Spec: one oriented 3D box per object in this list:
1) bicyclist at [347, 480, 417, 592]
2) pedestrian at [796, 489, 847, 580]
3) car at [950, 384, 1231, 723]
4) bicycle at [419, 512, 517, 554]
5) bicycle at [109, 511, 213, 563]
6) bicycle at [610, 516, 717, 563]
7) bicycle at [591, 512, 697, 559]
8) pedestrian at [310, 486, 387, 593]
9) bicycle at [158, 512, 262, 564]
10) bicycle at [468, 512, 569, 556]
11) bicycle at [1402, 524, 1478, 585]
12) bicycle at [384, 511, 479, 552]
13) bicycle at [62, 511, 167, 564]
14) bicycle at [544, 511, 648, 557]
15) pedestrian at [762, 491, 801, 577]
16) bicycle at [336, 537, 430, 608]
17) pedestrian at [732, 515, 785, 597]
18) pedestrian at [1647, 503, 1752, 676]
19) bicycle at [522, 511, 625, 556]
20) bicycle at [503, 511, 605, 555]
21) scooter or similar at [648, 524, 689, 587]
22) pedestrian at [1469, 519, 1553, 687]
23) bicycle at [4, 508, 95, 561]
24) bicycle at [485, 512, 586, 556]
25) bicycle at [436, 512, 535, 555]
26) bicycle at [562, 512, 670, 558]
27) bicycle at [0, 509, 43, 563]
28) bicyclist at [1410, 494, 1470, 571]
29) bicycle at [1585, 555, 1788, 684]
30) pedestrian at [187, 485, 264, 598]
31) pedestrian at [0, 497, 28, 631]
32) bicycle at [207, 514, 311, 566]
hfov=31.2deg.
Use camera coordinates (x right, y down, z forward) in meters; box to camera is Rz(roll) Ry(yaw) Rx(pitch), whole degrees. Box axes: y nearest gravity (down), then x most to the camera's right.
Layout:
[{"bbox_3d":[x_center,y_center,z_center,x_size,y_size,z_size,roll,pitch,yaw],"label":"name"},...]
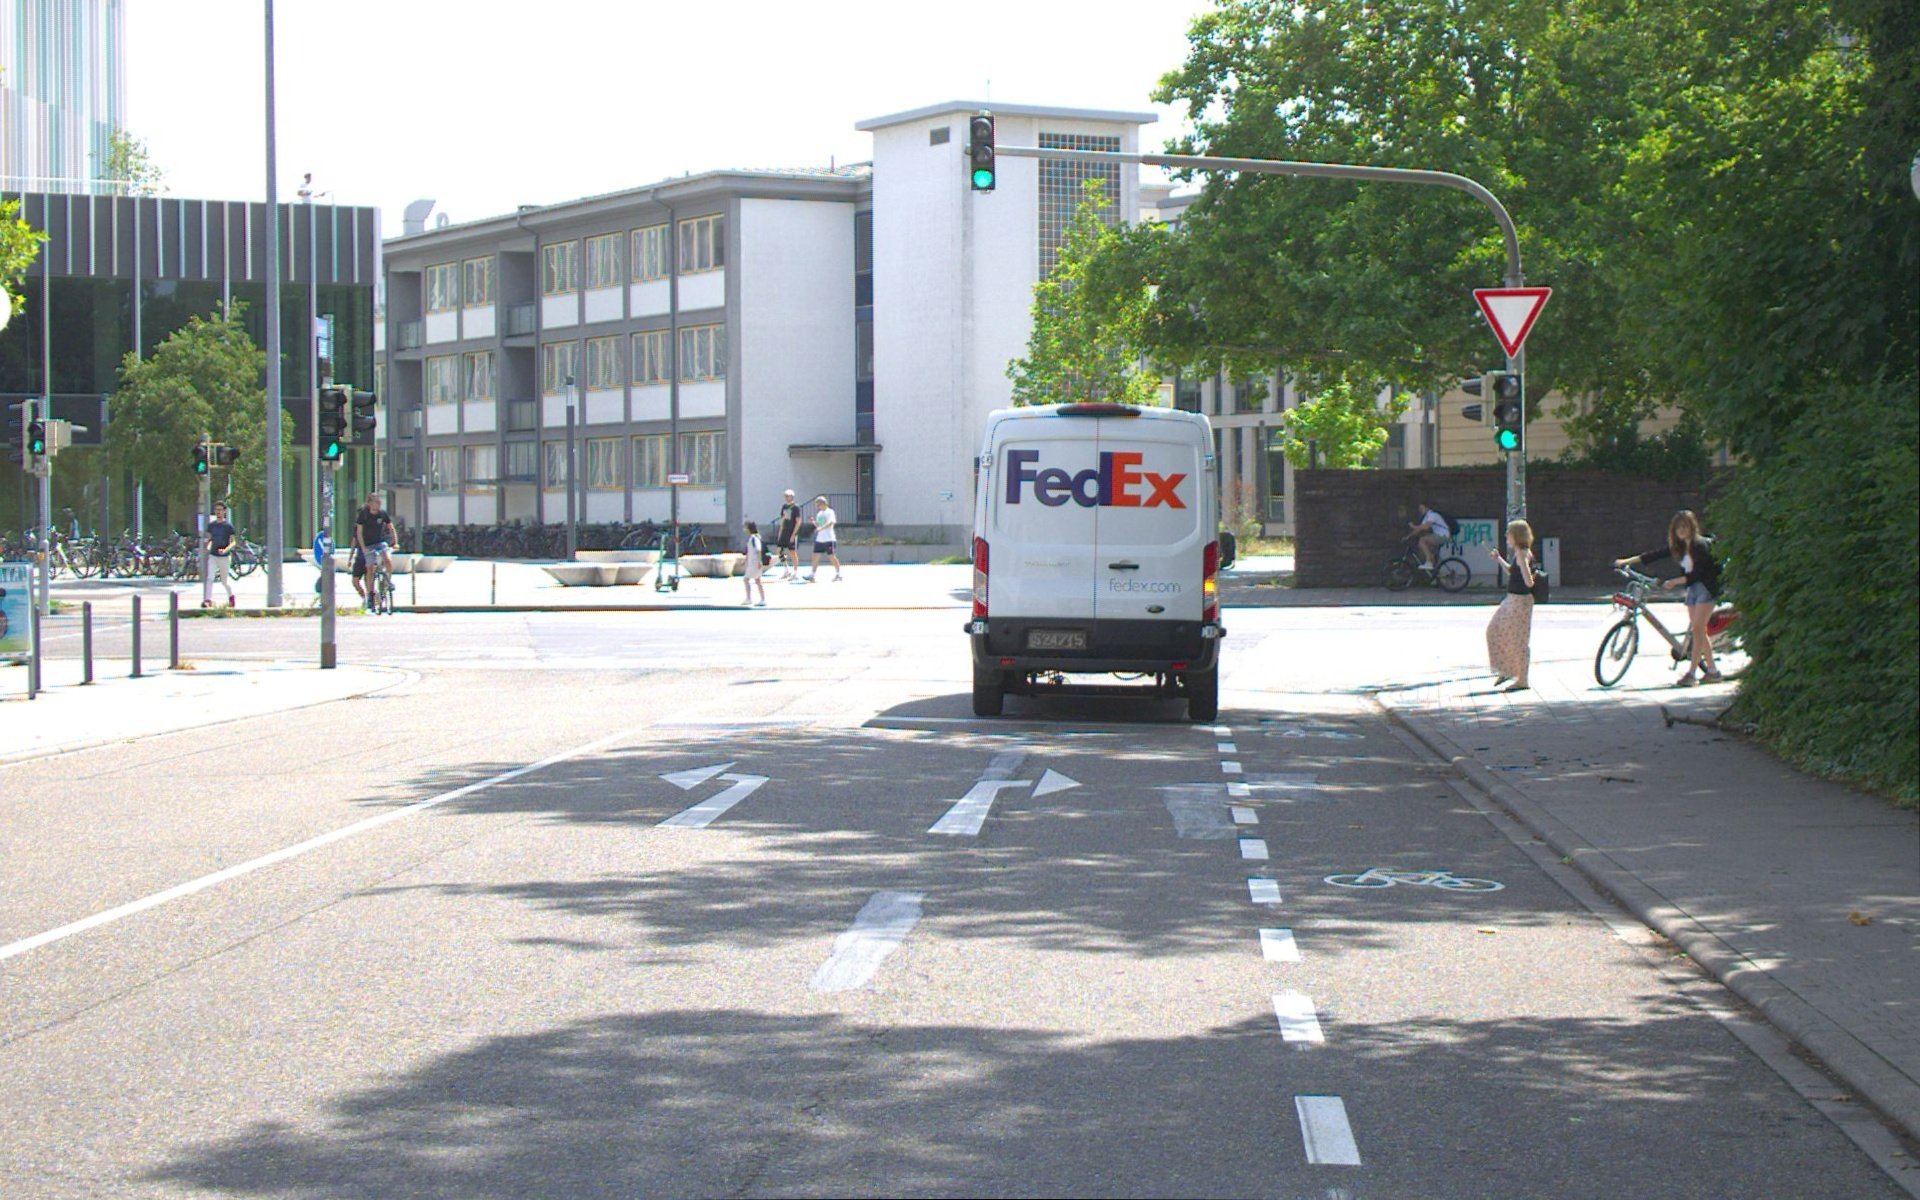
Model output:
[{"bbox_3d":[-9.470,-1.051,56.321,0.790,1.811,0.999,0,2,13],"label":"bicyclist"},{"bbox_3d":[-2.909,-1.380,72.073,0.865,1.882,0.913,-1,1,-16],"label":"pedestrian"},{"bbox_3d":[1.146,-0.443,29.361,2.095,2.557,5.602,2,2,3],"label":"car"},{"bbox_3d":[-16.054,-2.189,112.142,2.956,1.359,1.117,0,1,-34],"label":"bicycle"},{"bbox_3d":[-19.357,-1.525,83.260,1.197,1.233,2.950,-1,2,-42],"label":"bicycle"},{"bbox_3d":[-8.665,-1.768,100.544,2.956,1.359,1.117,0,1,-34],"label":"bicycle"},{"bbox_3d":[-9.337,-1.904,101.691,2.956,1.359,1.117,0,1,-34],"label":"bicycle"},{"bbox_3d":[-10.757,-1.073,60.528,0.831,1.864,1.083,0,2,27],"label":"pedestrian"},{"bbox_3d":[-18.325,-1.512,83.978,1.197,1.233,2.950,-1,2,-42],"label":"bicycle"},{"bbox_3d":[-13.935,-2.094,108.605,2.956,1.359,1.117,0,1,-34],"label":"bicycle"},{"bbox_3d":[9.306,-0.885,66.591,0.849,1.141,1.993,0,2,27],"label":"bicycle"},{"bbox_3d":[-17.706,-2.285,115.286,2.956,1.359,1.117,0,1,-34],"label":"bicycle"},{"bbox_3d":[-20.271,-1.512,82.409,1.197,1.233,2.950,-1,2,-42],"label":"bicycle"},{"bbox_3d":[-11.017,-2.002,104.092,2.956,1.359,1.117,0,1,-34],"label":"bicycle"},{"bbox_3d":[-3.781,-1.402,72.799,0.668,1.808,0.816,-1,1,-16],"label":"pedestrian"},{"bbox_3d":[-9.453,-0.467,56.407,0.771,1.118,2.025,0,2,14],"label":"bicycle"},{"bbox_3d":[-3.756,-0.823,64.162,0.824,1.518,0.815,-1,1,-16],"label":"pedestrian"},{"bbox_3d":[6.930,-0.096,32.234,0.731,1.570,0.727,-3,0,-3],"label":"pedestrian"},{"bbox_3d":[-11.841,-2.041,105.316,2.956,1.359,1.117,0,1,-34],"label":"bicycle"},{"bbox_3d":[-12.566,-2.069,106.426,2.956,1.359,1.117,0,1,-34],"label":"bicycle"},{"bbox_3d":[-5.778,-0.899,68.053,0.716,1.174,2.726,0,2,-7],"label":"scooter or similar"},{"bbox_3d":[5.264,0.021,32.874,0.731,1.570,0.775,1,1,6],"label":"pedestrian"},{"bbox_3d":[-21.706,-1.569,81.907,1.197,1.233,2.951,0,1,-33],"label":"bicycle"},{"bbox_3d":[-13.270,-2.070,107.532,2.956,1.359,1.117,0,1,-34],"label":"bicycle"},{"bbox_3d":[-15.247,-2.148,110.598,2.956,1.359,1.117,0,1,-34],"label":"bicycle"},{"bbox_3d":[-10.305,-1.942,103.026,2.956,1.359,1.276,0,1,-34],"label":"bicycle"},{"bbox_3d":[-22.739,-1.522,81.290,1.197,1.233,2.951,0,1,-33],"label":"bicycle"},{"bbox_3d":[9.292,-1.313,66.539,0.850,1.463,1.067,0,2,27],"label":"bicyclist"},{"bbox_3d":[6.836,0.183,32.384,1.736,1.123,0.594,-3,0,-3],"label":"bicycle"},{"bbox_3d":[-12.399,-0.998,58.051,0.703,1.849,1.398,0,3,13],"label":"pedestrian"},{"bbox_3d":[-13.406,-0.486,46.690,0.807,1.801,1.266,0,2,22],"label":"pedestrian"},{"bbox_3d":[-17.282,-1.481,84.733,1.197,1.233,2.950,-1,2,-42],"label":"bicycle"}]
